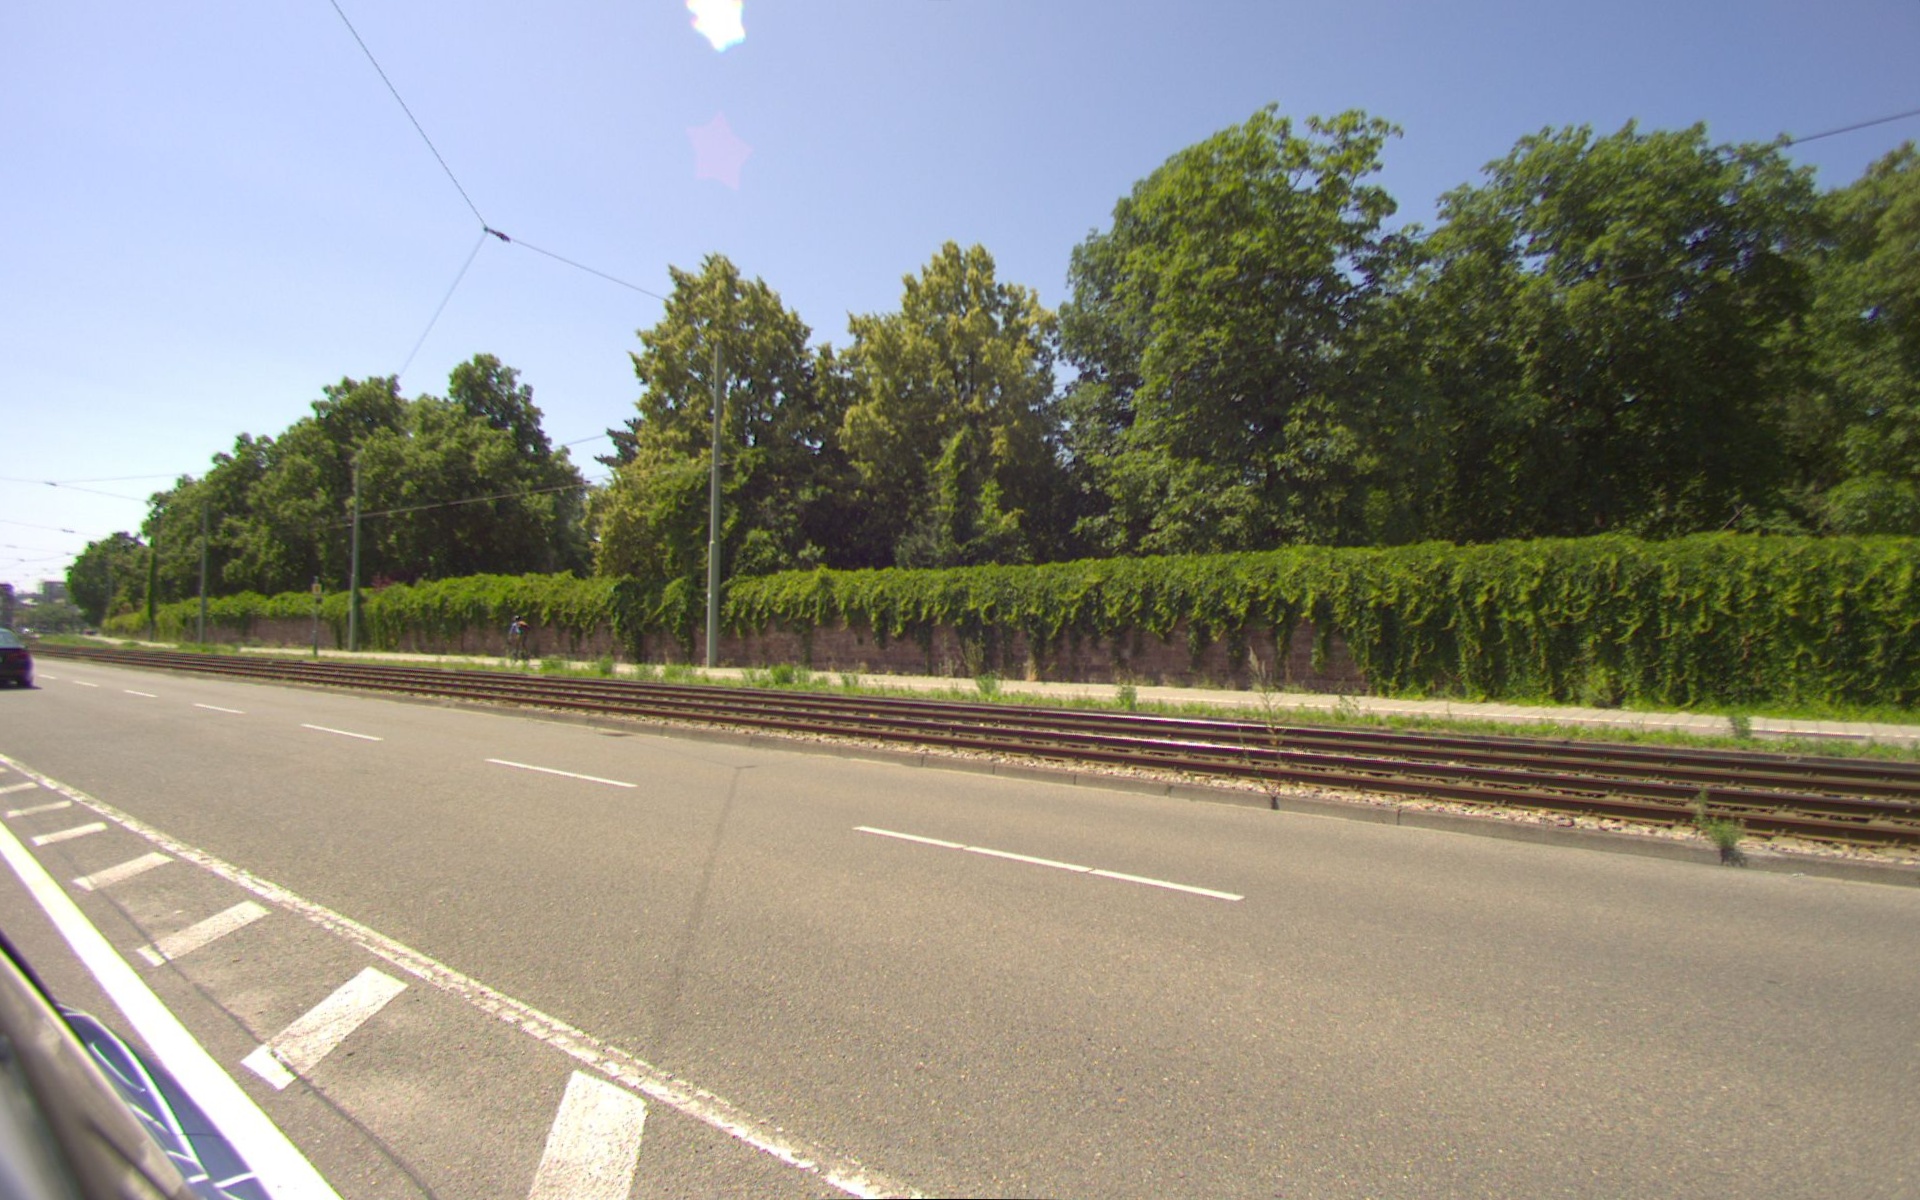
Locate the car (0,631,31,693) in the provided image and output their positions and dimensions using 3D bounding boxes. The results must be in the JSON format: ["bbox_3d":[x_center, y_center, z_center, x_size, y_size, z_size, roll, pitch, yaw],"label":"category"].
[{"bbox_3d":[-24.002,1.462,24.377,4.443,1.410,1.775,-1,-2,39],"label":"car"}]

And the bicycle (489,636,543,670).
[{"bbox_3d":[-16.014,1.887,36.477,2.686,1.165,0.819,-2,-2,44],"label":"bicycle"}]

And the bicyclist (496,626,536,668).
[{"bbox_3d":[-15.956,1.679,36.370,1.000,1.497,0.983,-2,-3,44],"label":"bicyclist"}]
